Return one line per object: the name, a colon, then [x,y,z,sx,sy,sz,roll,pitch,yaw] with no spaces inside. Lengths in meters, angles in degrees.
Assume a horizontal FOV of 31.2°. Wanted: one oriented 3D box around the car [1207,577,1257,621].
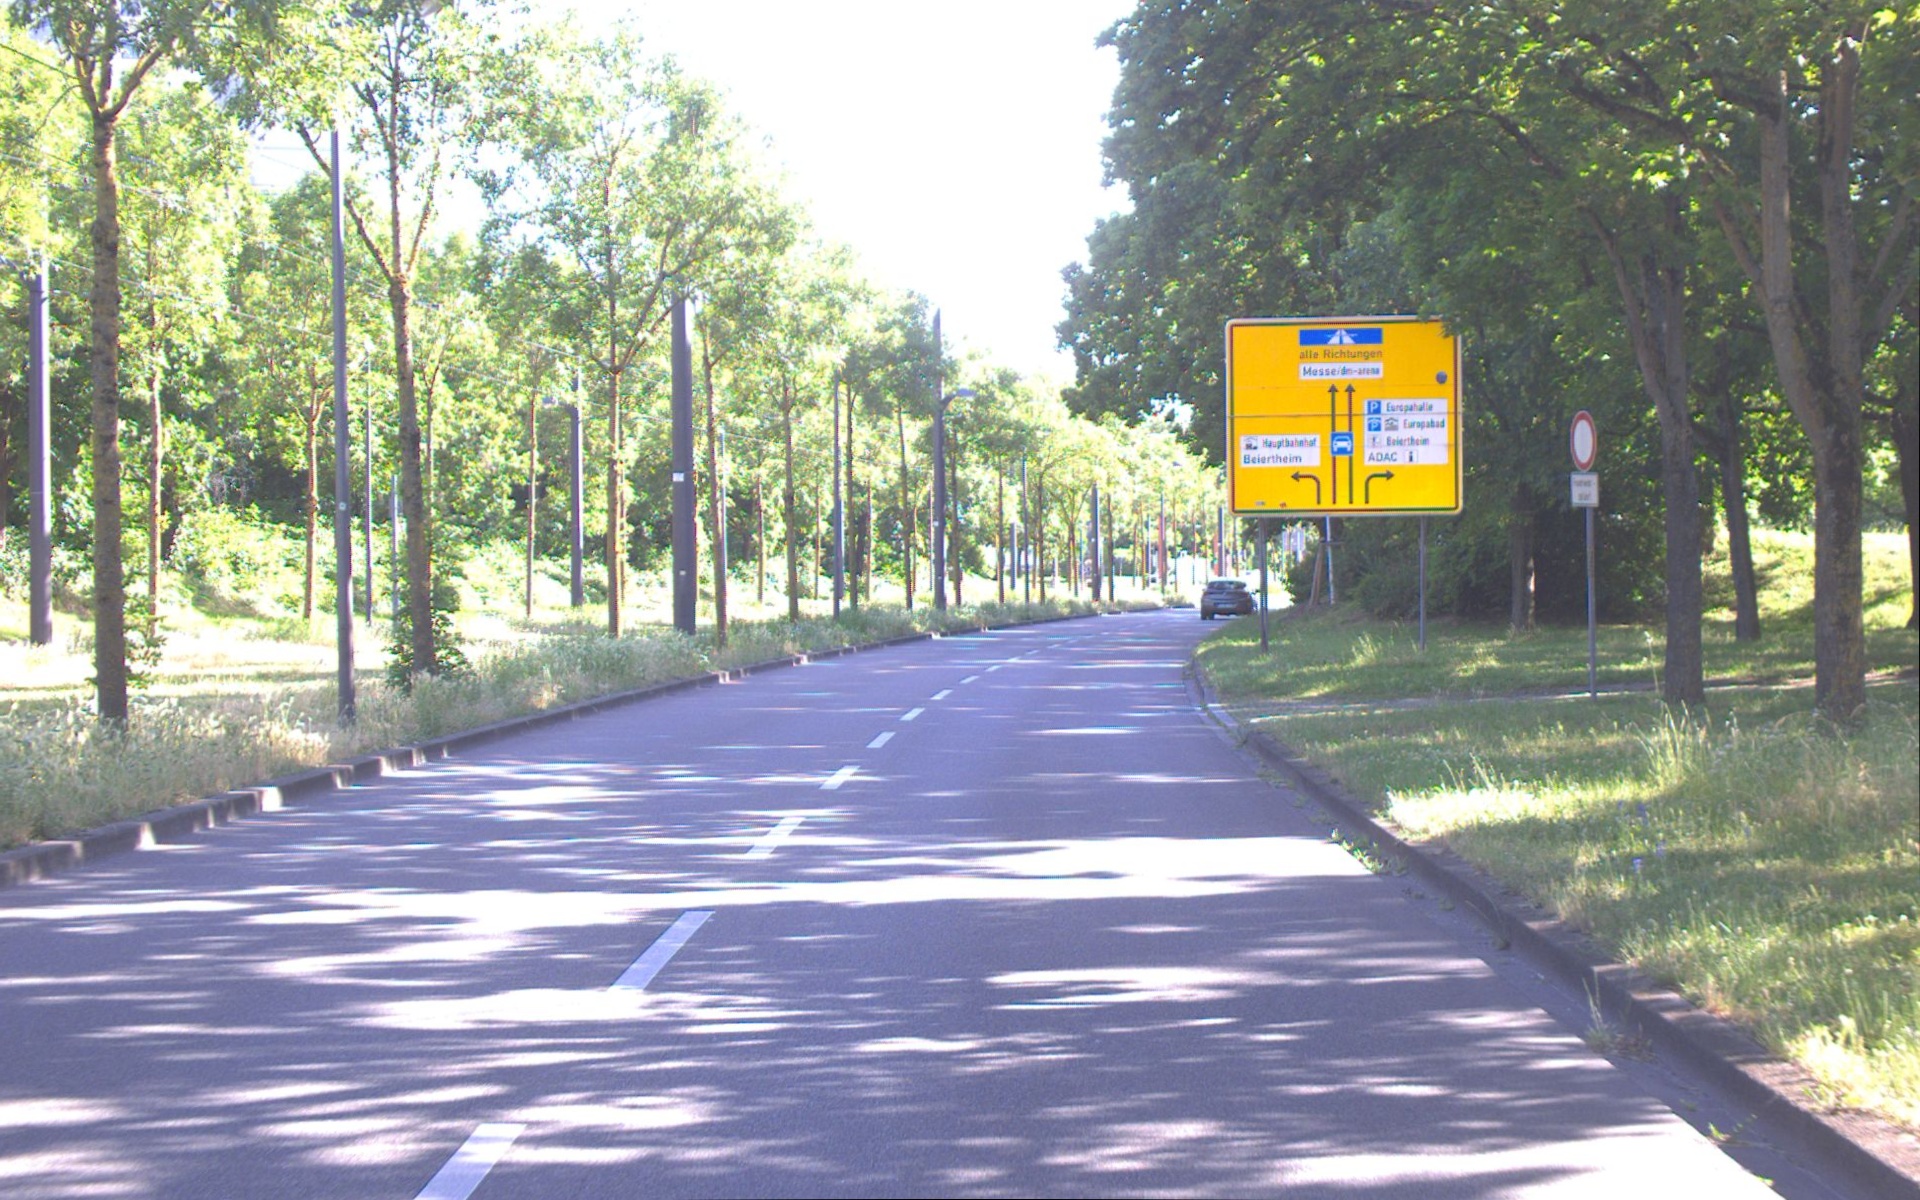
car: [9.440,-0.059,119.329,1.634,1.493,4.234,0,0,6]
